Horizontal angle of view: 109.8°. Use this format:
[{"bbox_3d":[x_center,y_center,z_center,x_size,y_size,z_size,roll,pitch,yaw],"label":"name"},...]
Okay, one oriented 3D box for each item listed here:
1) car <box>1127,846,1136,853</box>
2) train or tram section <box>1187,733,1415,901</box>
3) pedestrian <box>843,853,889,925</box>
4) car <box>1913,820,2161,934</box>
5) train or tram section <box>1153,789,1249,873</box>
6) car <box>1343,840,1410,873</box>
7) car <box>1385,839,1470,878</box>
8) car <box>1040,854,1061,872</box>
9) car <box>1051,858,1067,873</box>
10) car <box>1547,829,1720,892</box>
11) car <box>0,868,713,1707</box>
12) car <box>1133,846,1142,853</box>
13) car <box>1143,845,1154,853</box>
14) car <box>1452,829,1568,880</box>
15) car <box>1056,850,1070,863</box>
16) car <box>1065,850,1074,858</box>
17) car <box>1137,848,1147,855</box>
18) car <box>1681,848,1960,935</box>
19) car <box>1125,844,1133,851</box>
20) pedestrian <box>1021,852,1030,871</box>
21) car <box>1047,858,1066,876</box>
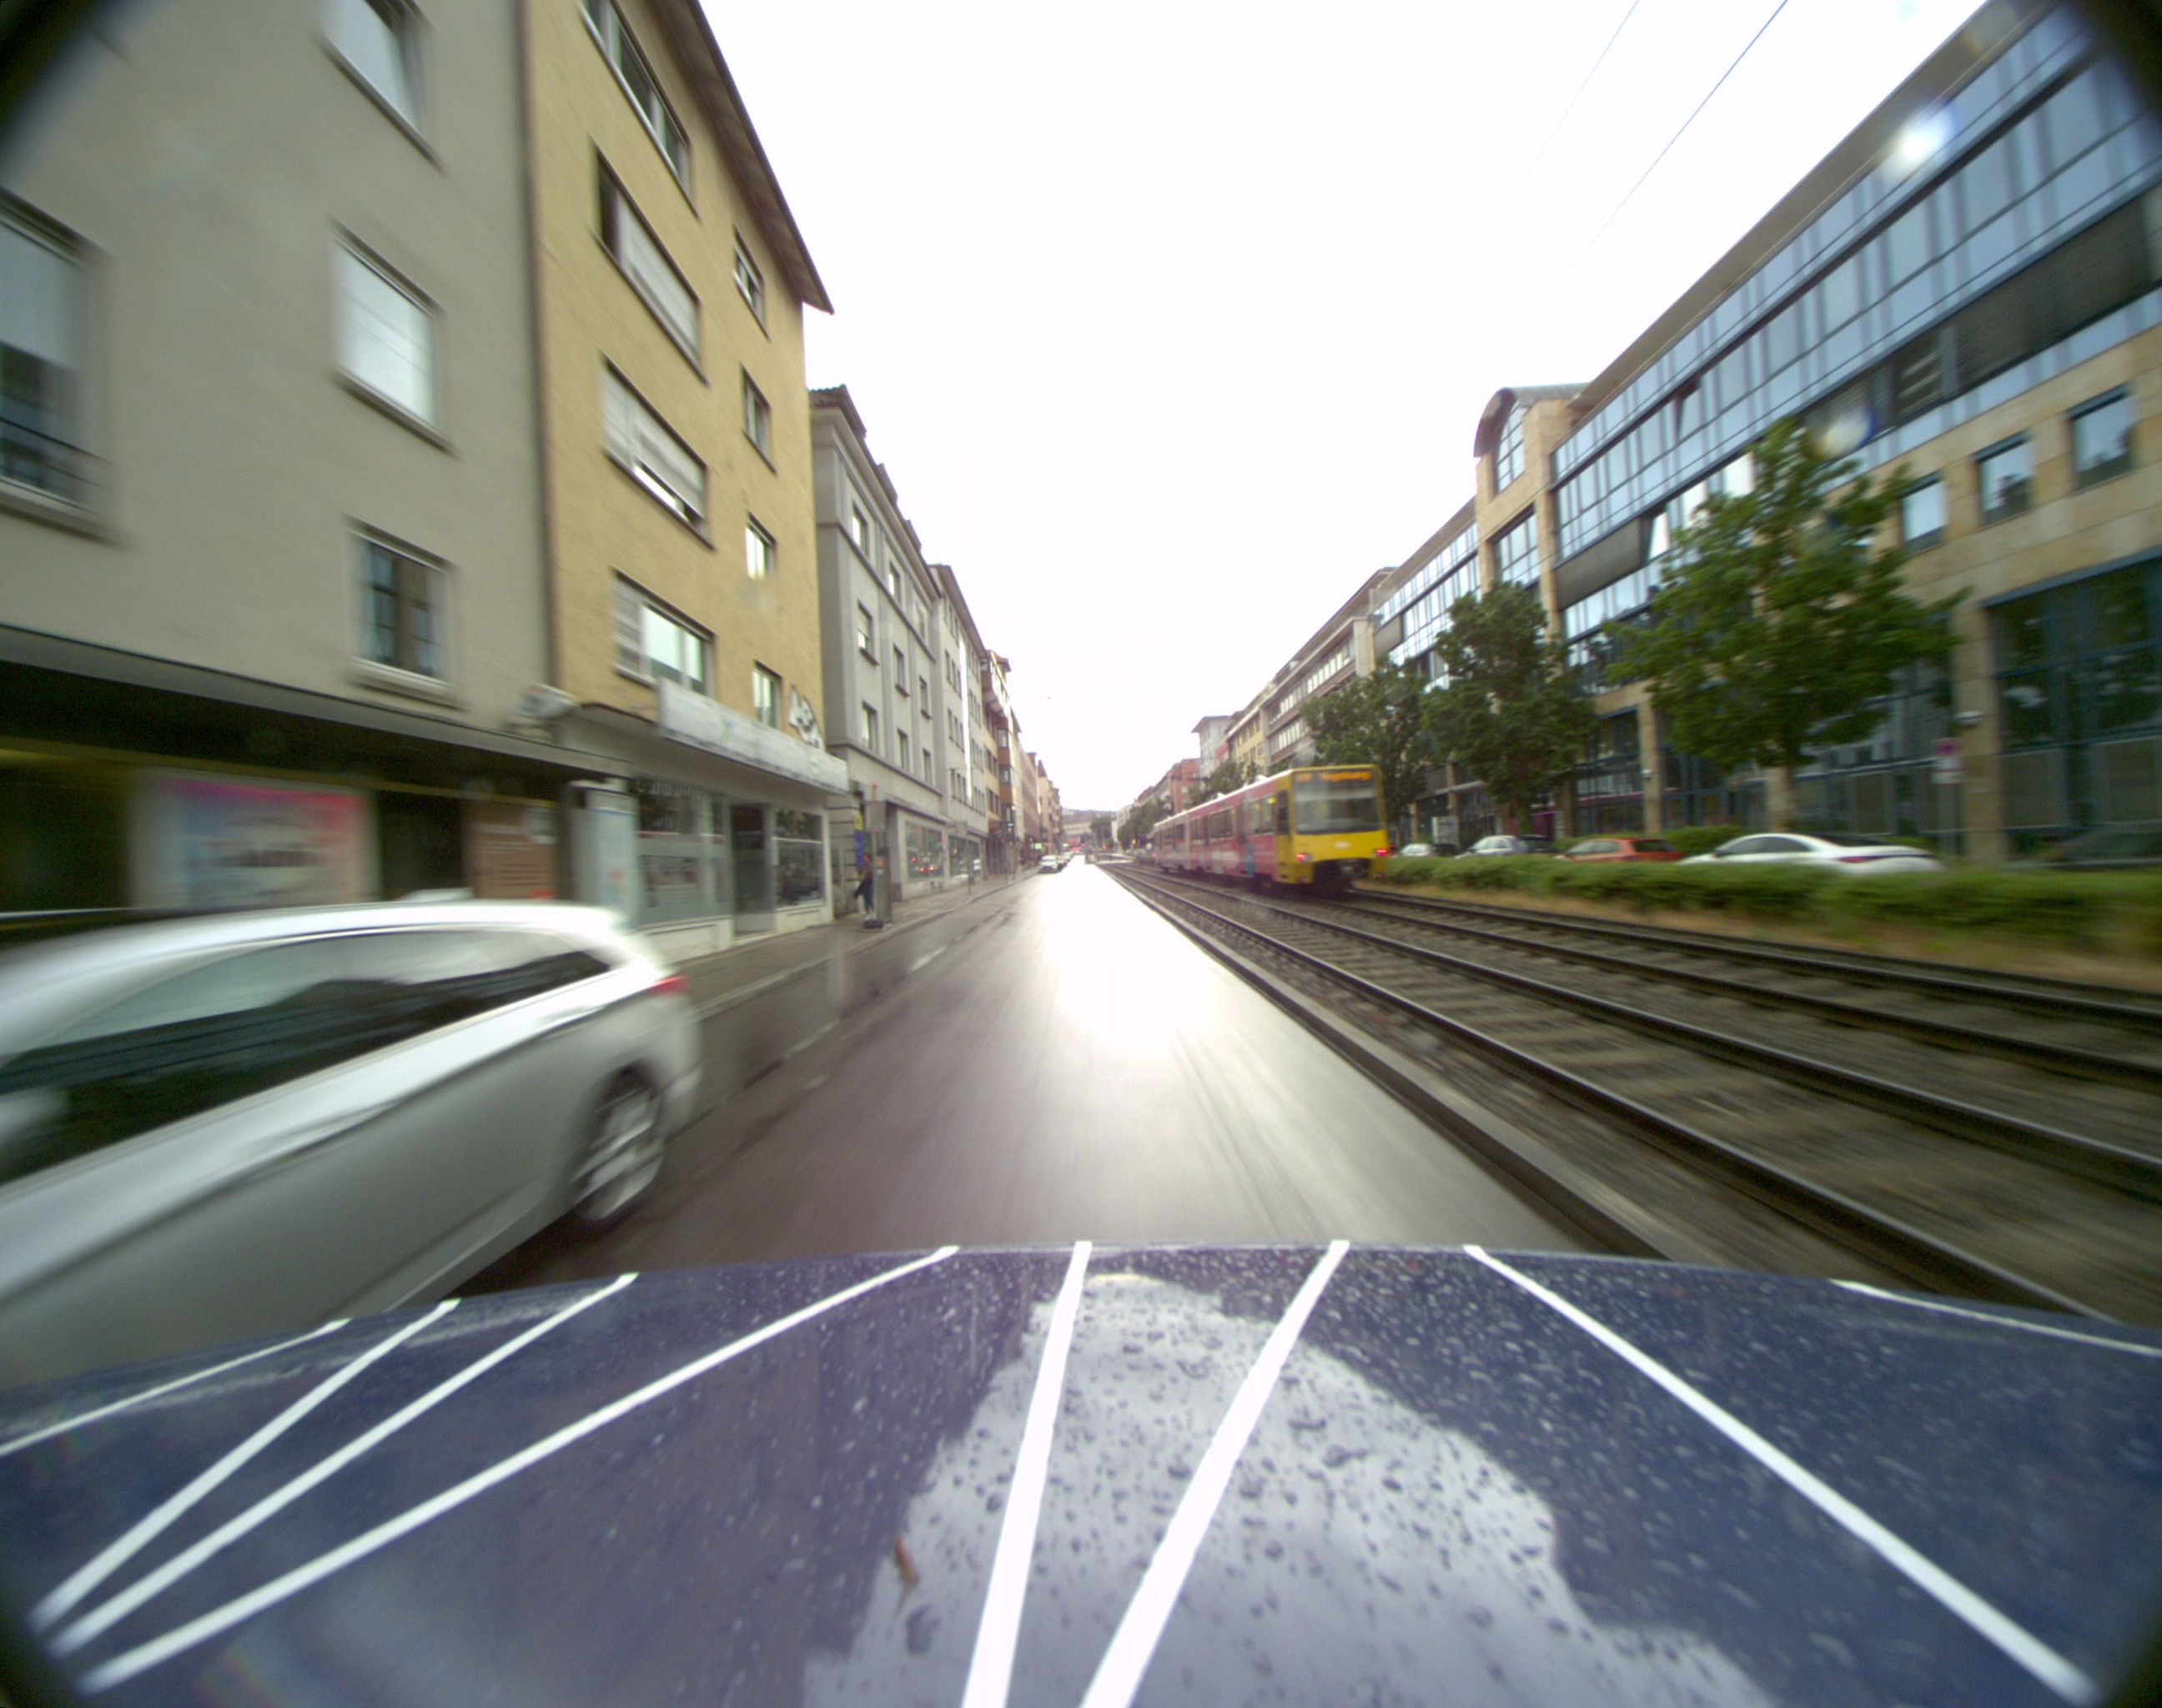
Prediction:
[{"bbox_3d":[14.059,-1.269,211.922,1.999,1.779,3.999,-2,0,-1],"label":"car"},{"bbox_3d":[6.748,-0.997,28.094,2.909,4.027,18.765,-2,1,0],"label":"train or tram section"},{"bbox_3d":[-5.208,0.834,18.468,0.793,1.649,0.721,-4,1,0],"label":"pedestrian"},{"bbox_3d":[15.031,0.281,10.904,1.693,1.477,4.000,-3,-1,-1],"label":"car"},{"bbox_3d":[6.796,-1.229,46.718,2.909,4.027,18.409,-2,1,0],"label":"train or tram section"},{"bbox_3d":[15.048,0.094,38.968,1.653,1.531,4.621,-2,0,1],"label":"car"},{"bbox_3d":[15.035,0.191,33.249,1.653,1.531,4.621,-2,0,1],"label":"car"},{"bbox_3d":[-2.711,0.814,68.919,1.653,1.489,4.067,-2,0,1],"label":"car"},{"bbox_3d":[-2.565,1.273,87.933,1.653,1.583,4.067,-2,0,1],"label":"car"},{"bbox_3d":[15.021,0.160,20.979,1.653,1.489,4.292,-2,0,1],"label":"car"},{"bbox_3d":[-3.006,0.913,1.771,2.029,1.584,4.620,-2,0,-1],"label":"car"},{"bbox_3d":[14.257,-1.132,192.613,1.999,1.652,3.999,-2,0,-1],"label":"car"},{"bbox_3d":[15.159,-1.040,171.422,1.999,1.652,3.999,-3,0,-1],"label":"car"},{"bbox_3d":[14.920,0.021,26.733,1.653,1.592,4.292,-2,0,1],"label":"car"},{"bbox_3d":[-2.442,0.342,103.112,1.653,1.583,4.067,-2,0,1],"label":"car"},{"bbox_3d":[-2.395,0.037,157.917,1.653,1.583,4.067,-2,0,1],"label":"car"},{"bbox_3d":[14.626,-0.573,183.296,1.999,1.652,3.999,-3,0,-1],"label":"car"},{"bbox_3d":[14.850,0.670,15.648,1.653,1.489,4.192,-2,0,1],"label":"car"},{"bbox_3d":[14.044,-1.899,223.668,1.999,1.779,3.999,-2,0,-1],"label":"car"},{"bbox_3d":[-5.101,0.650,69.664,0.640,1.690,0.883,-2,1,1],"label":"pedestrian"},{"bbox_3d":[-2.357,1.259,73.551,1.653,1.583,4.067,-2,0,1],"label":"car"}]
